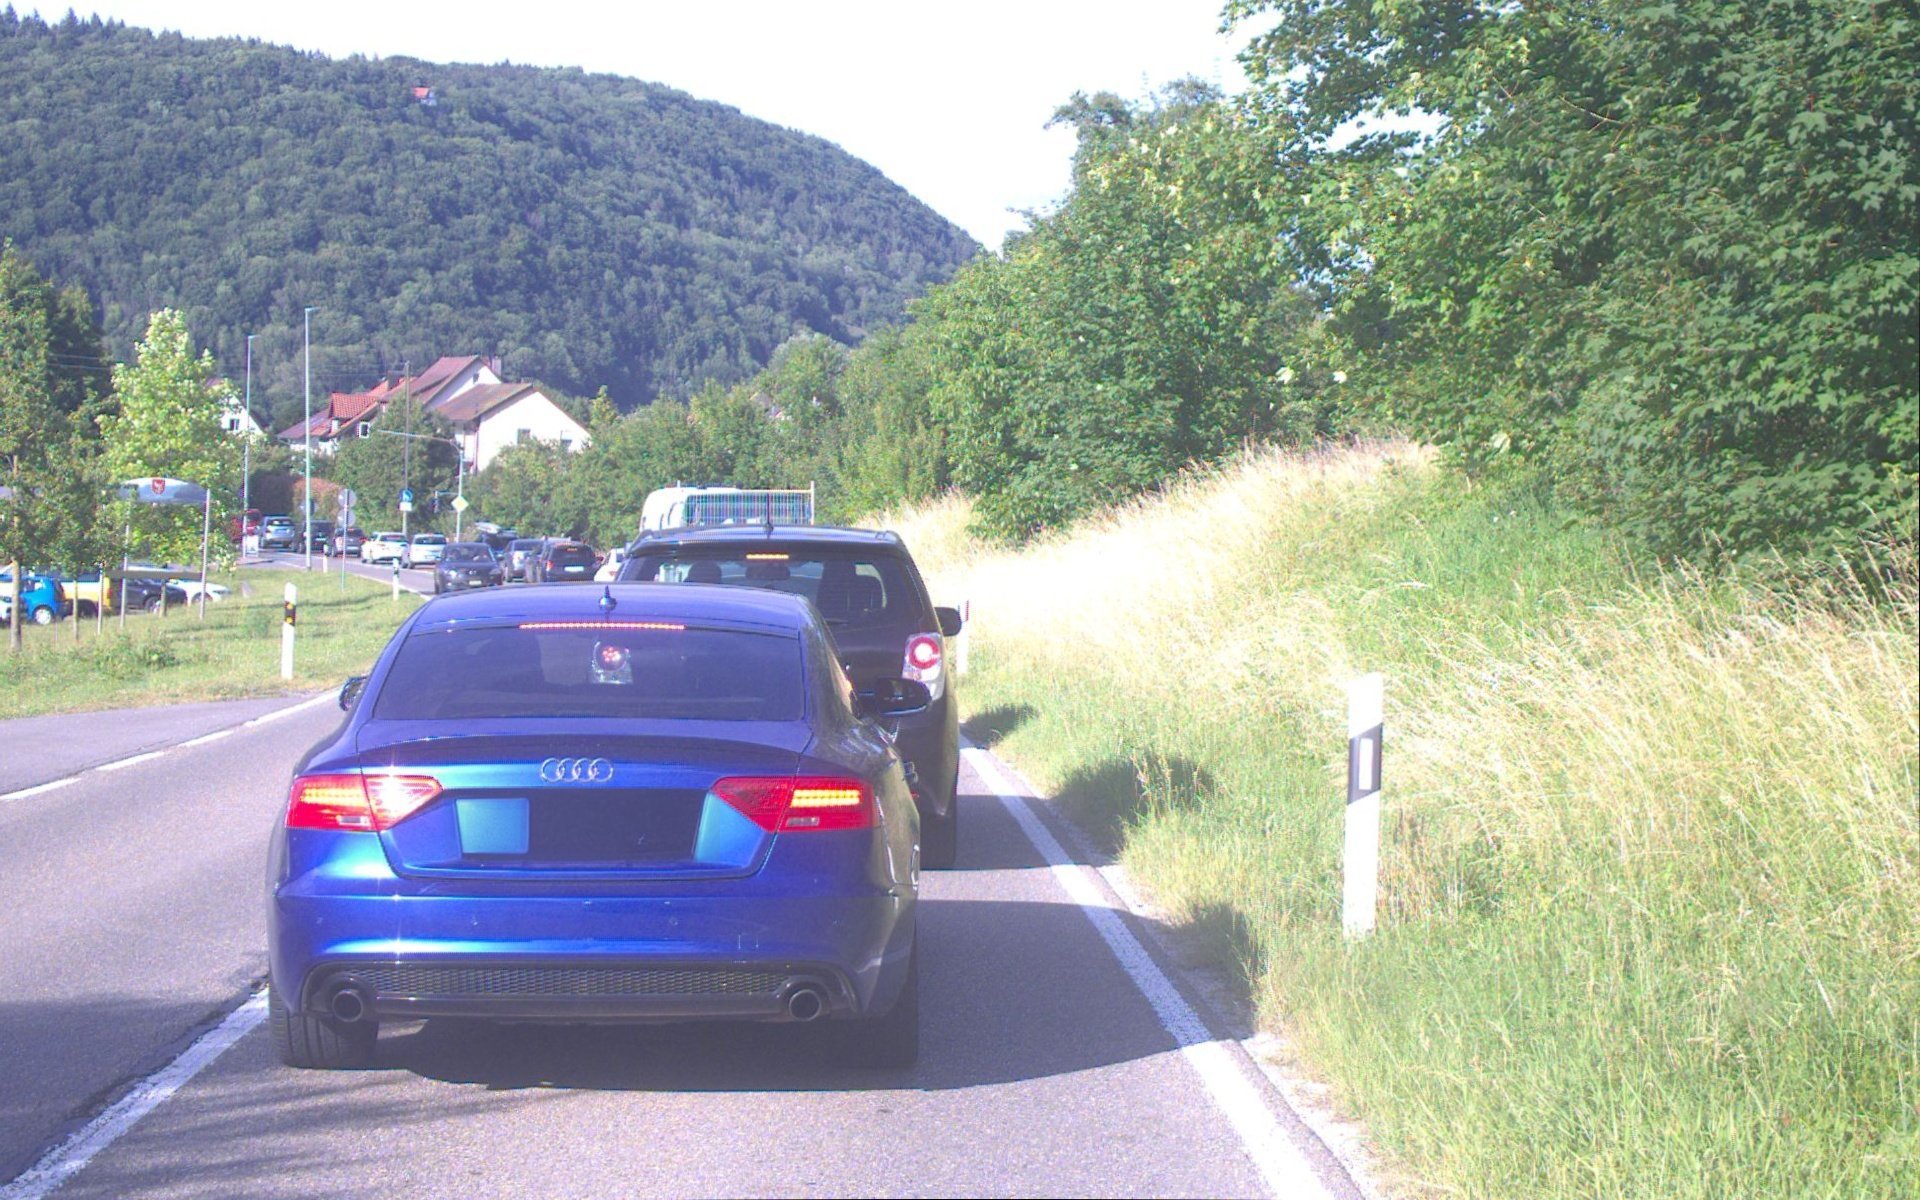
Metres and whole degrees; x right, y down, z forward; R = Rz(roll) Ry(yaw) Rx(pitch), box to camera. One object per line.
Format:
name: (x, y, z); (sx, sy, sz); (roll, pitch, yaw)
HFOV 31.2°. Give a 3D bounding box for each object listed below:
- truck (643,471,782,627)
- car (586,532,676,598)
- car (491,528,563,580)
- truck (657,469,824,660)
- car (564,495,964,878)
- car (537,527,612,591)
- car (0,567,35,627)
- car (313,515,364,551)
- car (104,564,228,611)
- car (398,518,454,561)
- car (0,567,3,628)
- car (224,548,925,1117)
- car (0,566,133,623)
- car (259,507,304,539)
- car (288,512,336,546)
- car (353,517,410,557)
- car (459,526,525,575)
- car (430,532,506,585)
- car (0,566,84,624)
truck: (-4.417, -0.880, 60.549); (2.229, 2.561, 6.709); (1, 0, -6)
car: (-7.724, -0.817, 80.456); (1.845, 1.477, 4.001); (1, 0, -9)
car: (-14.689, -1.540, 116.502); (1.845, 1.706, 4.001); (1, 0, -15)
truck: (-3.134, -0.511, 49.901); (2.229, 2.561, 6.104); (1, 0, -3)
car: (-0.885, 0.369, 17.197); (1.754, 1.675, 3.846); (1, 0, 0)
car: (-10.622, -1.126, 94.605); (1.845, 1.706, 4.001); (1, 0, -9)
car: (-28.588, -0.116, 97.964); (3.986, 1.705, 2.000); (1, 0, -3)
car: (-30.421, -3.281, 168.127); (1.845, 1.706, 4.001); (1, 0, -19)
car: (-27.829, -0.442, 120.617); (3.986, 1.573, 1.753); (1, 0, -3)
car: (-22.139, -2.485, 142.383); (1.845, 1.706, 4.001); (1, 0, -15)
car: (-28.609, -0.088, 94.679); (3.986, 1.705, 2.000); (1, 0, -3)
car: (-1.002, 0.577, 10.685); (1.754, 1.425, 3.846); (1, 0, 0)
car: (-27.794, -0.177, 106.362); (3.986, 1.705, 2.000); (1, 0, -3)
car: (-37.384, -4.242, 189.377); (1.845, 1.706, 4.001); (1, 0, -19)
car: (-33.611, -3.686, 178.210); (1.845, 1.706, 4.001); (1, 0, -19)
car: (-25.971, -2.814, 154.200); (1.845, 1.706, 4.001); (1, 0, -19)
car: (-16.894, -1.781, 123.938); (1.845, 1.706, 4.001); (1, 0, -15)
car: (-13.697, -1.154, 95.560); (1.703, 1.425, 4.052); (1, 0, -13)
car: (-28.671, -0.167, 103.751); (3.986, 1.705, 2.000); (1, 0, -3)
